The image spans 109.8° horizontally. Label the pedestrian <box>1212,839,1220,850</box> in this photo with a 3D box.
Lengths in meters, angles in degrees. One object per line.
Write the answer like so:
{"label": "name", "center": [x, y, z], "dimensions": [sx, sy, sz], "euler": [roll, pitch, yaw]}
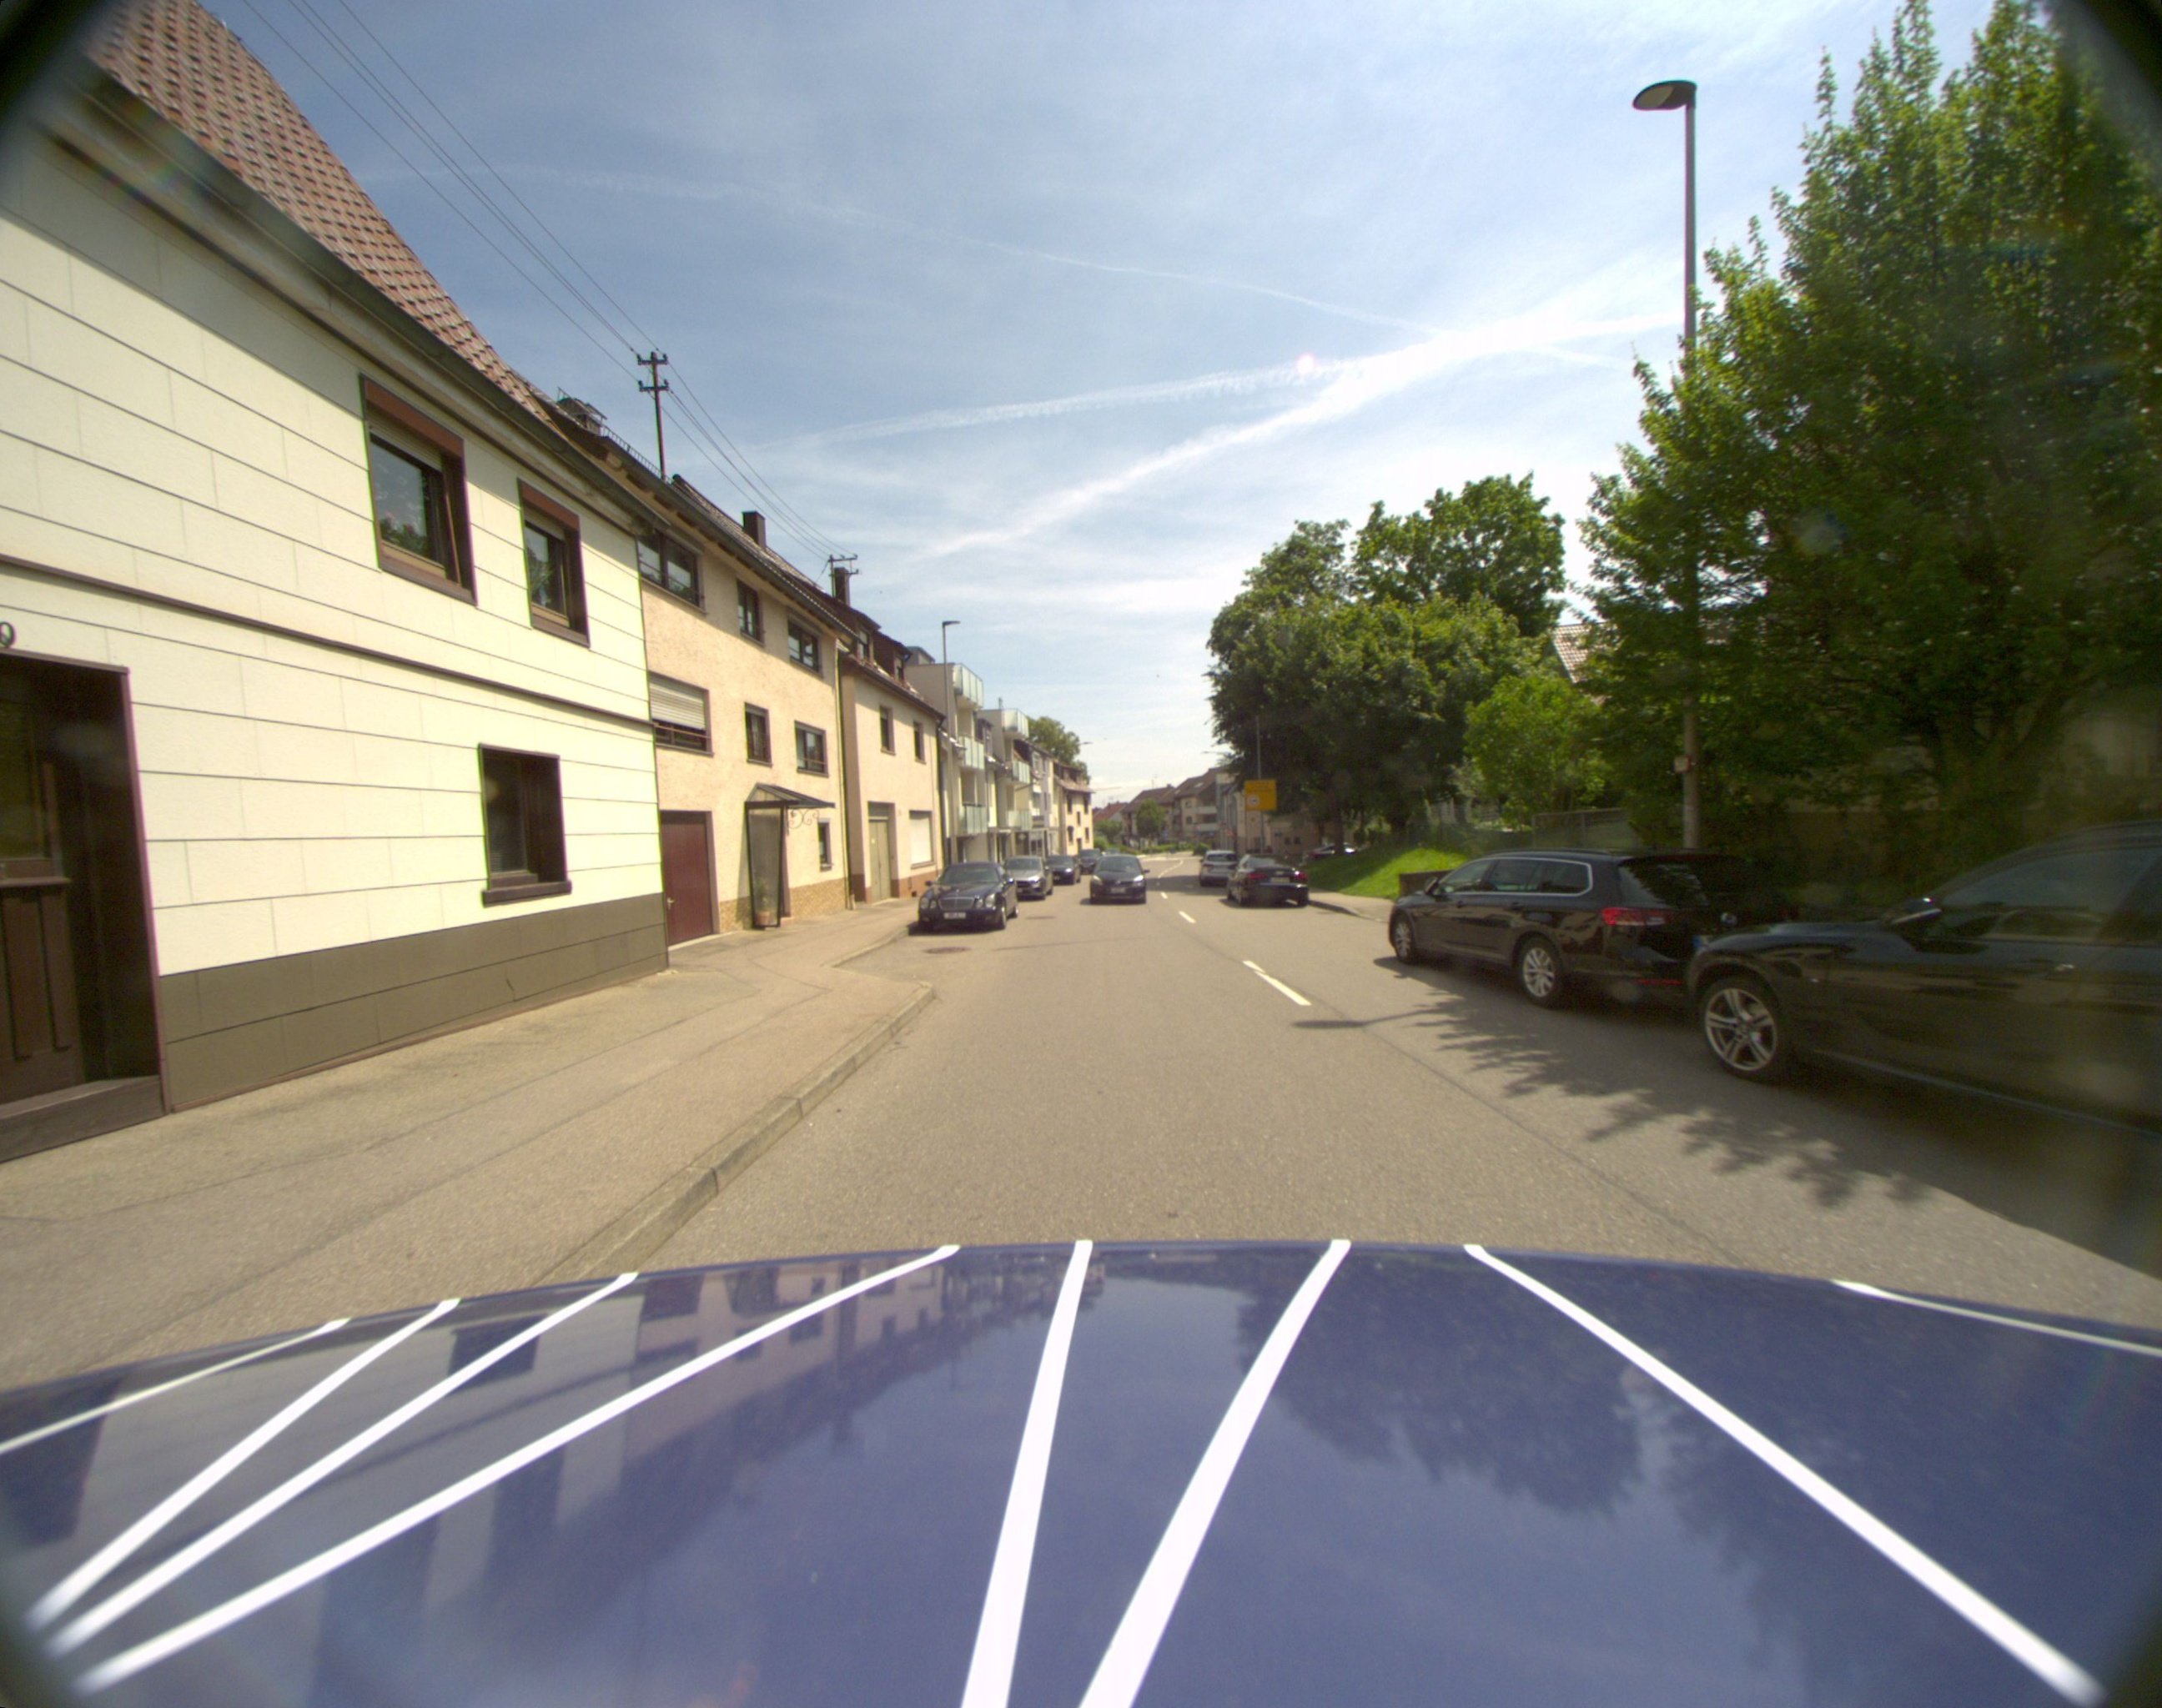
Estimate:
{"label": "pedestrian", "center": [18.787, -1.372, 105.746], "dimensions": [0.801, 1.470, 0.957], "euler": [-3, 1, 3]}

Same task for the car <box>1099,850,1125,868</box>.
{"label": "car", "center": [2.696, 0.395, 65.506], "dimensions": [1.792, 1.412, 4.360], "euler": [-2, 1, 9]}

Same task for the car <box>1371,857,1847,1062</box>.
{"label": "car", "center": [4.891, 0.809, 8.092], "dimensions": [1.793, 1.455, 4.711], "euler": [-1, 1, 0]}

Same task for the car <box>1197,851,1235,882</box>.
{"label": "car", "center": [7.012, 0.619, 39.849], "dimensions": [1.758, 1.458, 4.364], "euler": [0, 1, 7]}

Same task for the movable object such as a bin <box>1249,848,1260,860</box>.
{"label": "movable object such as a bin", "center": [14.966, -0.038, 65.594], "dimensions": [0.853, 0.995, 0.694], "euler": [-2, 1, 10]}

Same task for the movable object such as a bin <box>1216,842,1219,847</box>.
{"label": "movable object such as a bin", "center": [18.935, -1.341, 105.392], "dimensions": [0.458, 0.578, 0.469], "euler": [-3, 1, 3]}

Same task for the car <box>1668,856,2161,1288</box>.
{"label": "car", "center": [4.779, 0.791, 2.992], "dimensions": [1.759, 1.512, 4.301], "euler": [-2, 0, 3]}

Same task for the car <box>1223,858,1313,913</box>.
{"label": "car", "center": [5.359, 0.833, 22.345], "dimensions": [1.808, 1.415, 4.929], "euler": [0, 0, 5]}

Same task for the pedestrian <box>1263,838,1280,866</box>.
{"label": "pedestrian", "center": [11.181, -0.127, 44.617], "dimensions": [0.732, 1.607, 0.628], "euler": [-3, 2, -12]}

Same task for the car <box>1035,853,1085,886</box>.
{"label": "car", "center": [-0.940, 0.704, 36.656], "dimensions": [1.800, 1.416, 4.291], "euler": [-1, 1, 7]}

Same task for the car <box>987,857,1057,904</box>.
{"label": "car", "center": [-1.917, 0.822, 25.823], "dimensions": [1.798, 1.395, 4.412], "euler": [0, 1, 3]}

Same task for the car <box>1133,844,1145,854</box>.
{"label": "car", "center": [9.668, -0.865, 127.169], "dimensions": [1.756, 1.575, 3.944], "euler": [-2, 1, 1]}

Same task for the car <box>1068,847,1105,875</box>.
{"label": "car", "center": [0.433, 0.401, 50.718], "dimensions": [1.957, 1.706, 4.718], "euler": [-2, 1, 6]}

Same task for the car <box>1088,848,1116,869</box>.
{"label": "car", "center": [1.673, 0.324, 58.835], "dimensions": [1.792, 1.447, 4.718], "euler": [-2, 1, 6]}

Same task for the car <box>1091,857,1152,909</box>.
{"label": "car", "center": [1.214, 0.843, 23.950], "dimensions": [1.725, 1.448, 4.430], "euler": [-1, 0, 1]}

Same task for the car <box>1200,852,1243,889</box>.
{"label": "car", "center": [6.216, 0.678, 33.920], "dimensions": [1.775, 1.518, 4.224], "euler": [0, 1, 9]}

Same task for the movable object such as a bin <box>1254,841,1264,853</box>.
{"label": "movable object such as a bin", "center": [15.393, -0.630, 65.730], "dimensions": [0.802, 0.994, 0.805], "euler": [-4, 1, 10]}

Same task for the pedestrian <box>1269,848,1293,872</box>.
{"label": "pedestrian", "center": [11.315, 0.324, 42.979], "dimensions": [1.238, 1.262, 0.647], "euler": [-3, 1, 12]}

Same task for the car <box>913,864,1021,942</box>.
{"label": "car", "center": [-2.351, 0.961, 16.660], "dimensions": [1.670, 1.345, 4.186], "euler": [-2, 1, 0]}

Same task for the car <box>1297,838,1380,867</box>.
{"label": "car", "center": [17.213, -0.122, 50.810], "dimensions": [4.791, 1.471, 1.998], "euler": [-6, 2, -11]}
